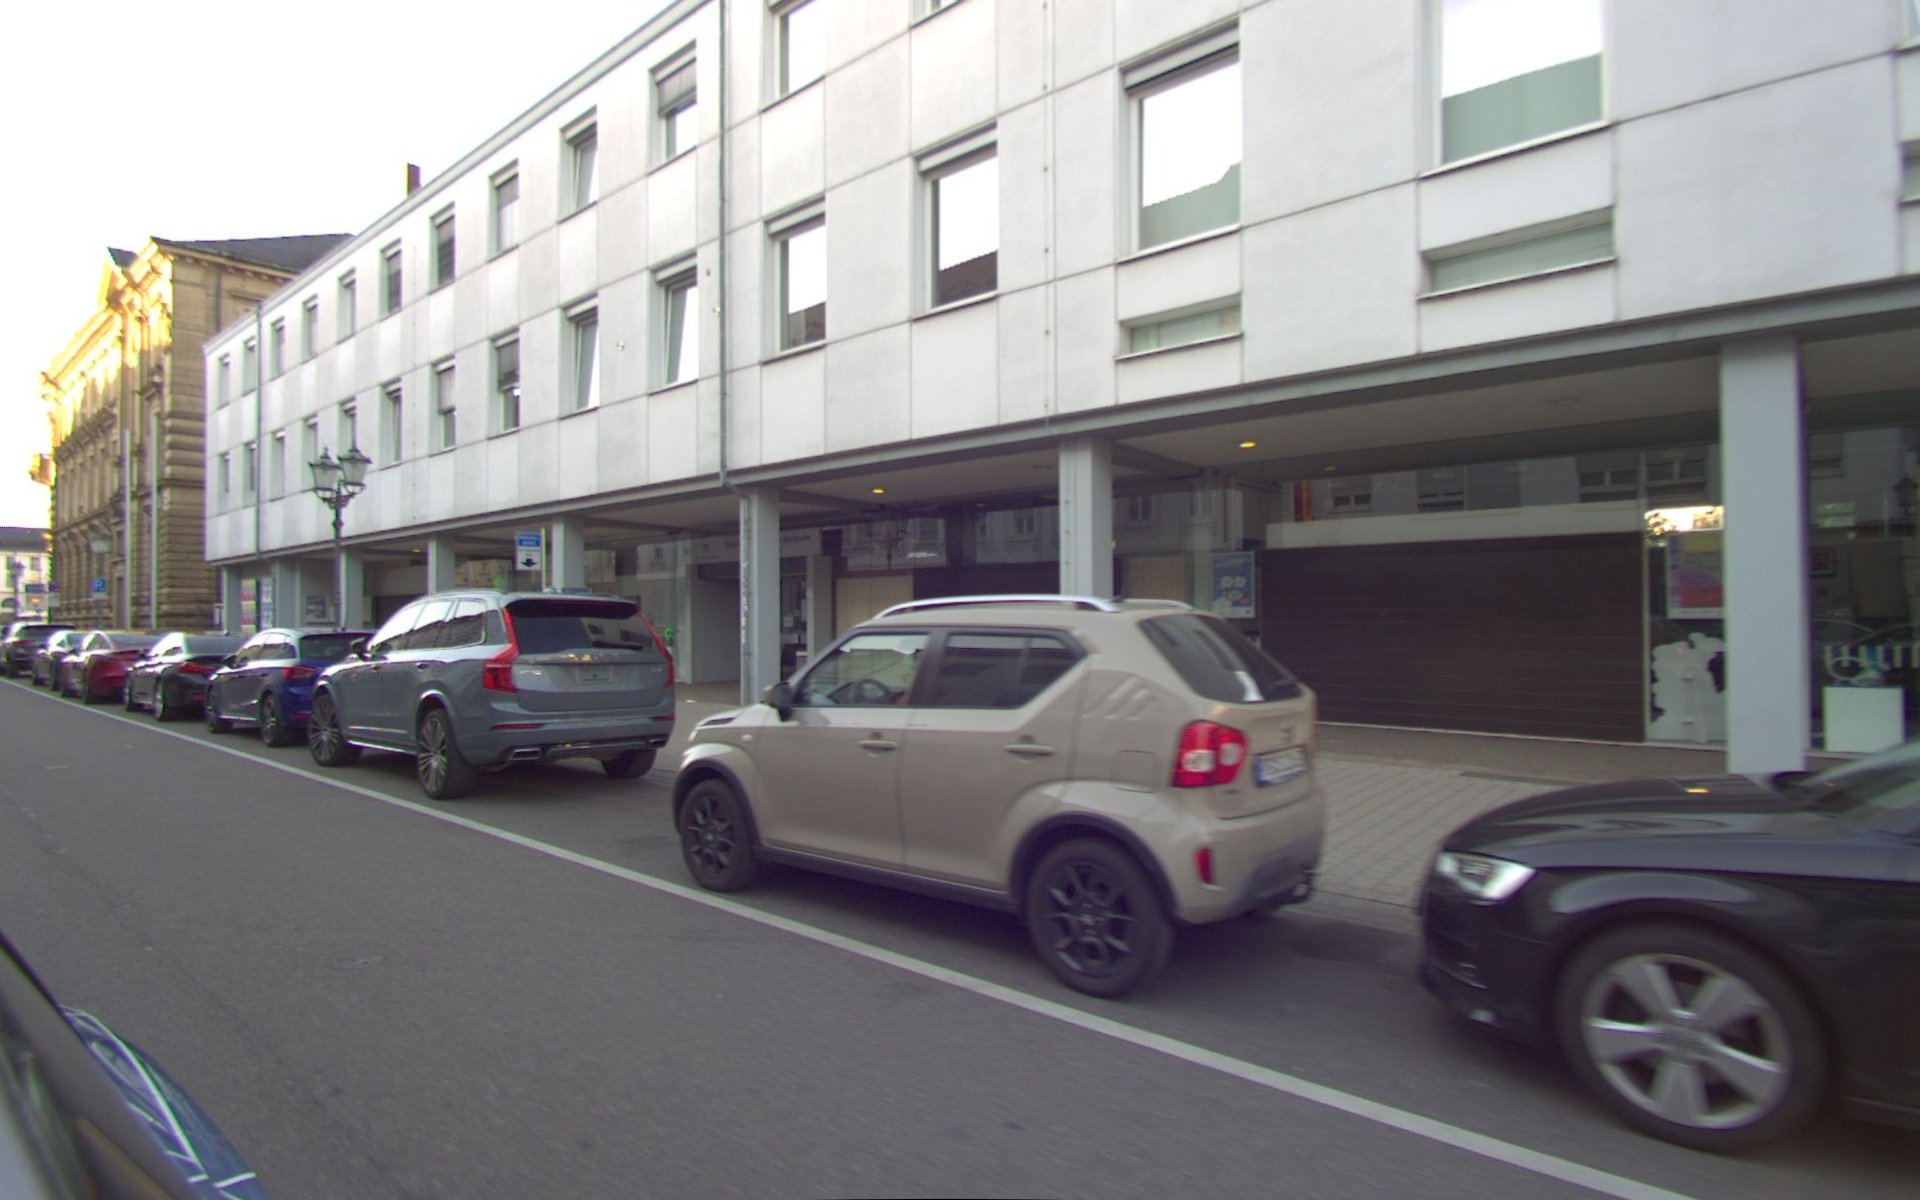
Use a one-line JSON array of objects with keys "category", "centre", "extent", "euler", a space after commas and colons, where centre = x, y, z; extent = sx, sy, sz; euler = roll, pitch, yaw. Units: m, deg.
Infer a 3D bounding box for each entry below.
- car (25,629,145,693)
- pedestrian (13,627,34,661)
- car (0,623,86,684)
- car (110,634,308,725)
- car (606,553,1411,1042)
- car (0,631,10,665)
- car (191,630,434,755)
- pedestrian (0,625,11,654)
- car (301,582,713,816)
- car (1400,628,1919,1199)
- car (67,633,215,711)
[{"category": "car", "centre": [-21.645, 1.447, 24.986], "extent": [4.088, 1.419, 1.766], "euler": [-2, -2, 43]}, {"category": "pedestrian", "centre": [-49.100, 2.287, 53.063], "extent": [0.896, 1.743, 0.706], "euler": [-2, 1, 43]}, {"category": "car", "centre": [-26.855, 1.499, 29.368], "extent": [4.165, 1.627, 1.766], "euler": [-2, -2, 43]}, {"category": "car", "centre": [-13.031, 1.291, 17.494], "extent": [3.999, 1.364, 1.972], "euler": [-2, -3, 42]}, {"category": "car", "centre": [0.072, 0.747, 5.523], "extent": [3.995, 1.674, 1.974], "euler": [-2, -3, 39]}, {"category": "car", "centre": [-44.990, 2.185, 46.230], "extent": [4.163, 1.506, 1.972], "euler": [-1, -2, 42]}, {"category": "car", "centre": [-8.714, 1.117, 13.496], "extent": [3.998, 1.411, 1.656], "euler": [-2, -2, 41]}, {"category": "pedestrian", "centre": [-58.481, 2.437, 61.908], "extent": [0.703, 1.743, 0.600], "euler": [-2, -2, 43]}, {"category": "car", "centre": [-4.543, 0.814, 9.809], "extent": [4.514, 1.741, 1.972], "euler": [-2, -3, 42]}, {"category": "car", "centre": [3.522, 0.765, 2.584], "extent": [4.101, 1.364, 1.661], "euler": [-2, -1, 39]}, {"category": "car", "centre": [-16.846, 1.393, 20.748], "extent": [4.088, 1.419, 1.766], "euler": [-2, -2, 43]}]
